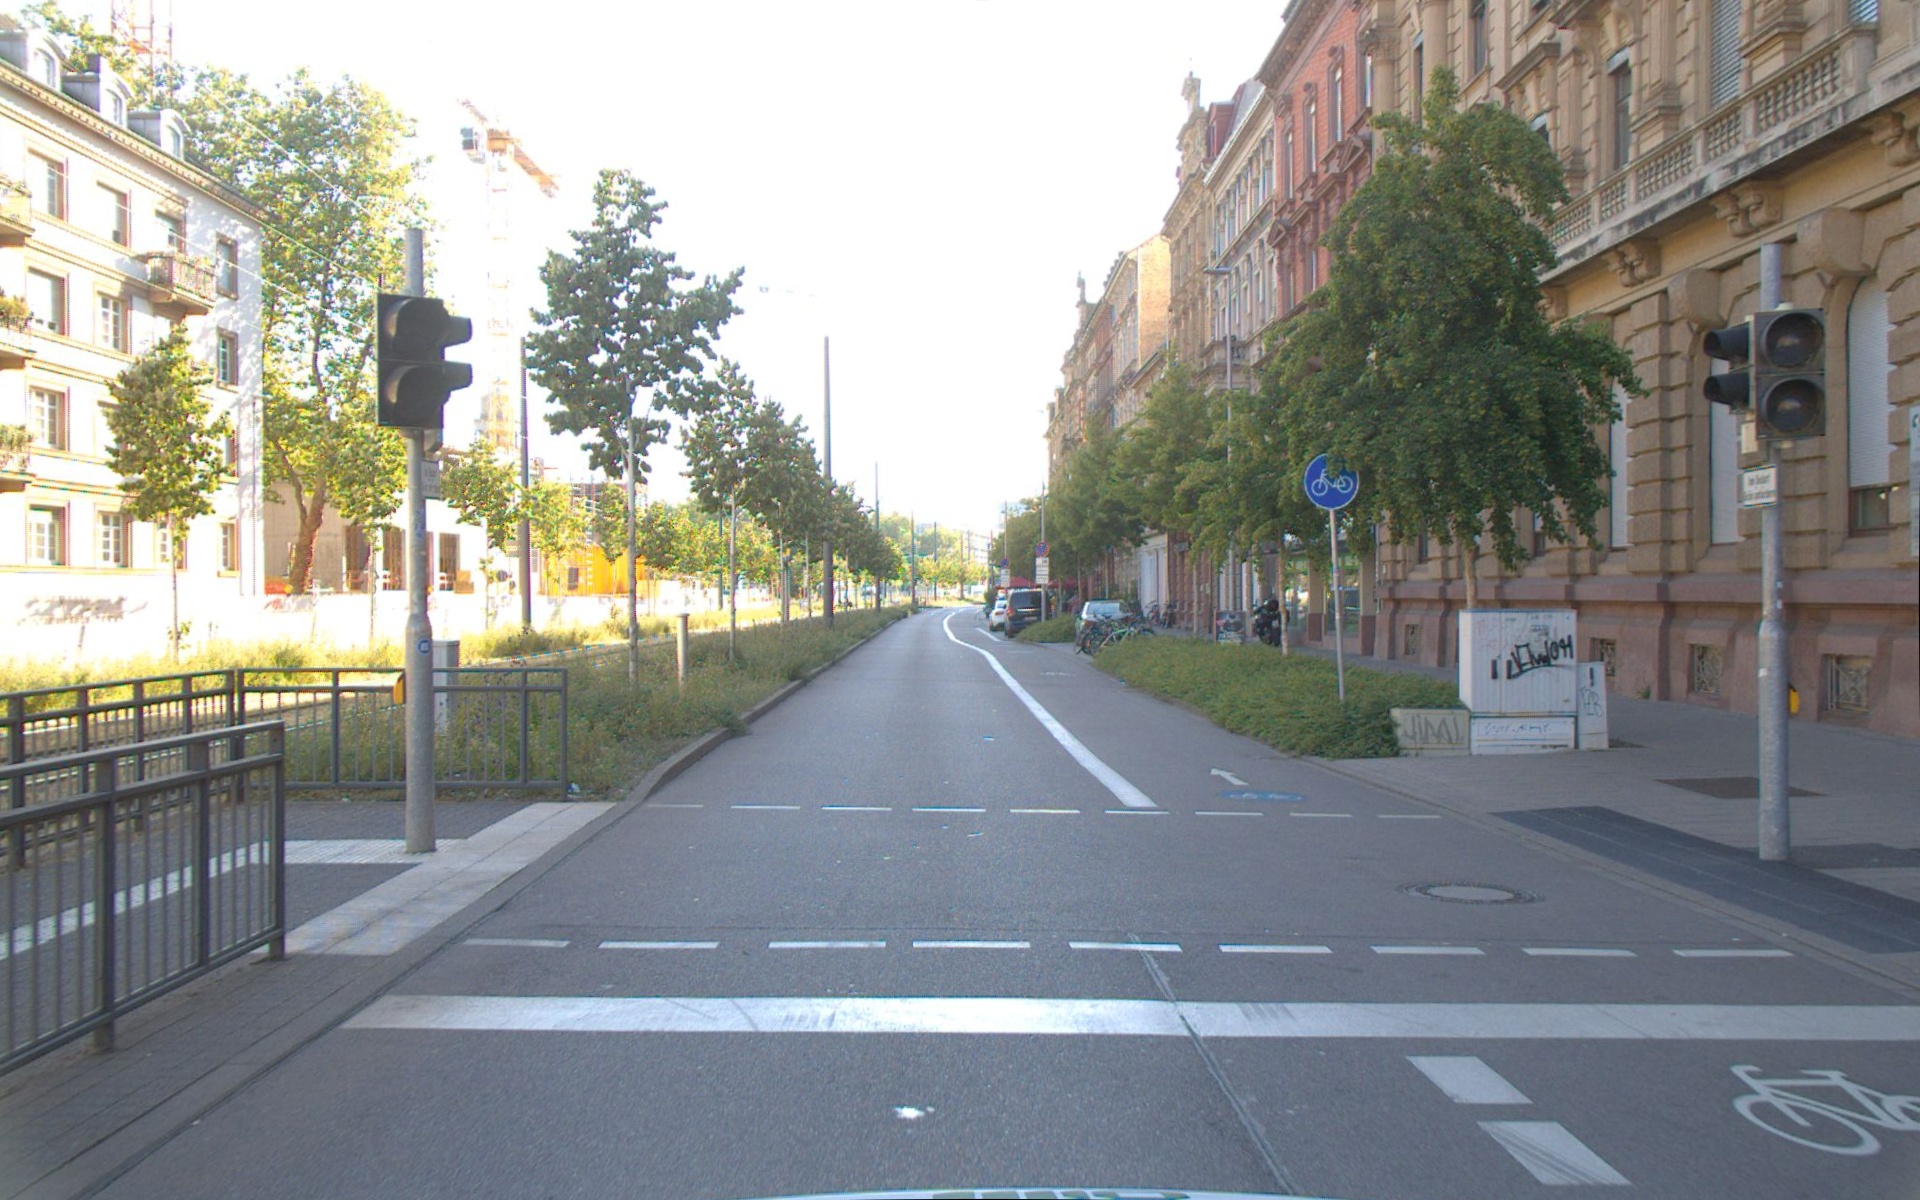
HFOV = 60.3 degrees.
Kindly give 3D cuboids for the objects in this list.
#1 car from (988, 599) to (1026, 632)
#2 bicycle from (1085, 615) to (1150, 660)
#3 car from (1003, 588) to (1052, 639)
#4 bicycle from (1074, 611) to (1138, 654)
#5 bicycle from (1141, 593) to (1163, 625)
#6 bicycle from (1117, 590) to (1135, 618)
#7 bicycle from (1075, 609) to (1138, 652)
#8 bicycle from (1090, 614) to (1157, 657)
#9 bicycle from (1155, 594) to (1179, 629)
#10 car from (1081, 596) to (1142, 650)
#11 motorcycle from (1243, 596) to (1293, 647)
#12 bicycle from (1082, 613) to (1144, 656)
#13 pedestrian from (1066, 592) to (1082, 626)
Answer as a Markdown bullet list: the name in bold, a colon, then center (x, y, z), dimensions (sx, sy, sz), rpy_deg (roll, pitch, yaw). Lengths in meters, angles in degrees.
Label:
- **car**: center (2.313, 0.756, 81.973), dimensions (1.811, 1.483, 4.157), rpy_deg (-1, 1, 0)
- **bicycle**: center (4.027, 0.960, 42.344), dimensions (1.547, 1.066, 0.488), rpy_deg (-2, 0, -9)
- **car**: center (2.771, 0.529, 68.632), dimensions (1.846, 1.971, 4.474), rpy_deg (-1, 1, 0)
- **bicycle**: center (3.987, 0.895, 45.311), dimensions (1.657, 1.066, 0.489), rpy_deg (-3, 0, -1)
- **bicycle**: center (8.754, 0.395, 75.390), dimensions (0.647, 1.427, 2.352), rpy_deg (-1, 1, -2)
- **bicycle**: center (8.718, 0.192, 86.767), dimensions (0.647, 1.427, 2.352), rpy_deg (-1, 1, -2)
- **bicycle**: center (4.125, 0.856, 46.647), dimensions (1.657, 1.066, 0.489), rpy_deg (-4, 0, -1)
- **bicycle**: center (4.317, 0.933, 43.640), dimensions (1.660, 1.066, 0.488), rpy_deg (-2, 0, -9)
- **bicycle**: center (8.874, 0.473, 70.930), dimensions (0.647, 1.427, 2.352), rpy_deg (-1, 1, -2)
- **car**: center (4.756, 0.701, 52.270), dimensions (1.603, 1.512, 4.213), rpy_deg (-2, 1, 1)
- **motorcycle**: center (8.750, 0.581, 47.072), dimensions (0.779, 1.331, 2.851), rpy_deg (-2, 1, -1)
- **bicycle**: center (4.077, 0.927, 44.172), dimensions (1.547, 1.066, 0.488), rpy_deg (-2, 0, -9)
- **pedestrian**: center (4.997, 0.406, 72.614), dimensions (0.612, 1.485, 0.638), rpy_deg (0, 0, -1)
